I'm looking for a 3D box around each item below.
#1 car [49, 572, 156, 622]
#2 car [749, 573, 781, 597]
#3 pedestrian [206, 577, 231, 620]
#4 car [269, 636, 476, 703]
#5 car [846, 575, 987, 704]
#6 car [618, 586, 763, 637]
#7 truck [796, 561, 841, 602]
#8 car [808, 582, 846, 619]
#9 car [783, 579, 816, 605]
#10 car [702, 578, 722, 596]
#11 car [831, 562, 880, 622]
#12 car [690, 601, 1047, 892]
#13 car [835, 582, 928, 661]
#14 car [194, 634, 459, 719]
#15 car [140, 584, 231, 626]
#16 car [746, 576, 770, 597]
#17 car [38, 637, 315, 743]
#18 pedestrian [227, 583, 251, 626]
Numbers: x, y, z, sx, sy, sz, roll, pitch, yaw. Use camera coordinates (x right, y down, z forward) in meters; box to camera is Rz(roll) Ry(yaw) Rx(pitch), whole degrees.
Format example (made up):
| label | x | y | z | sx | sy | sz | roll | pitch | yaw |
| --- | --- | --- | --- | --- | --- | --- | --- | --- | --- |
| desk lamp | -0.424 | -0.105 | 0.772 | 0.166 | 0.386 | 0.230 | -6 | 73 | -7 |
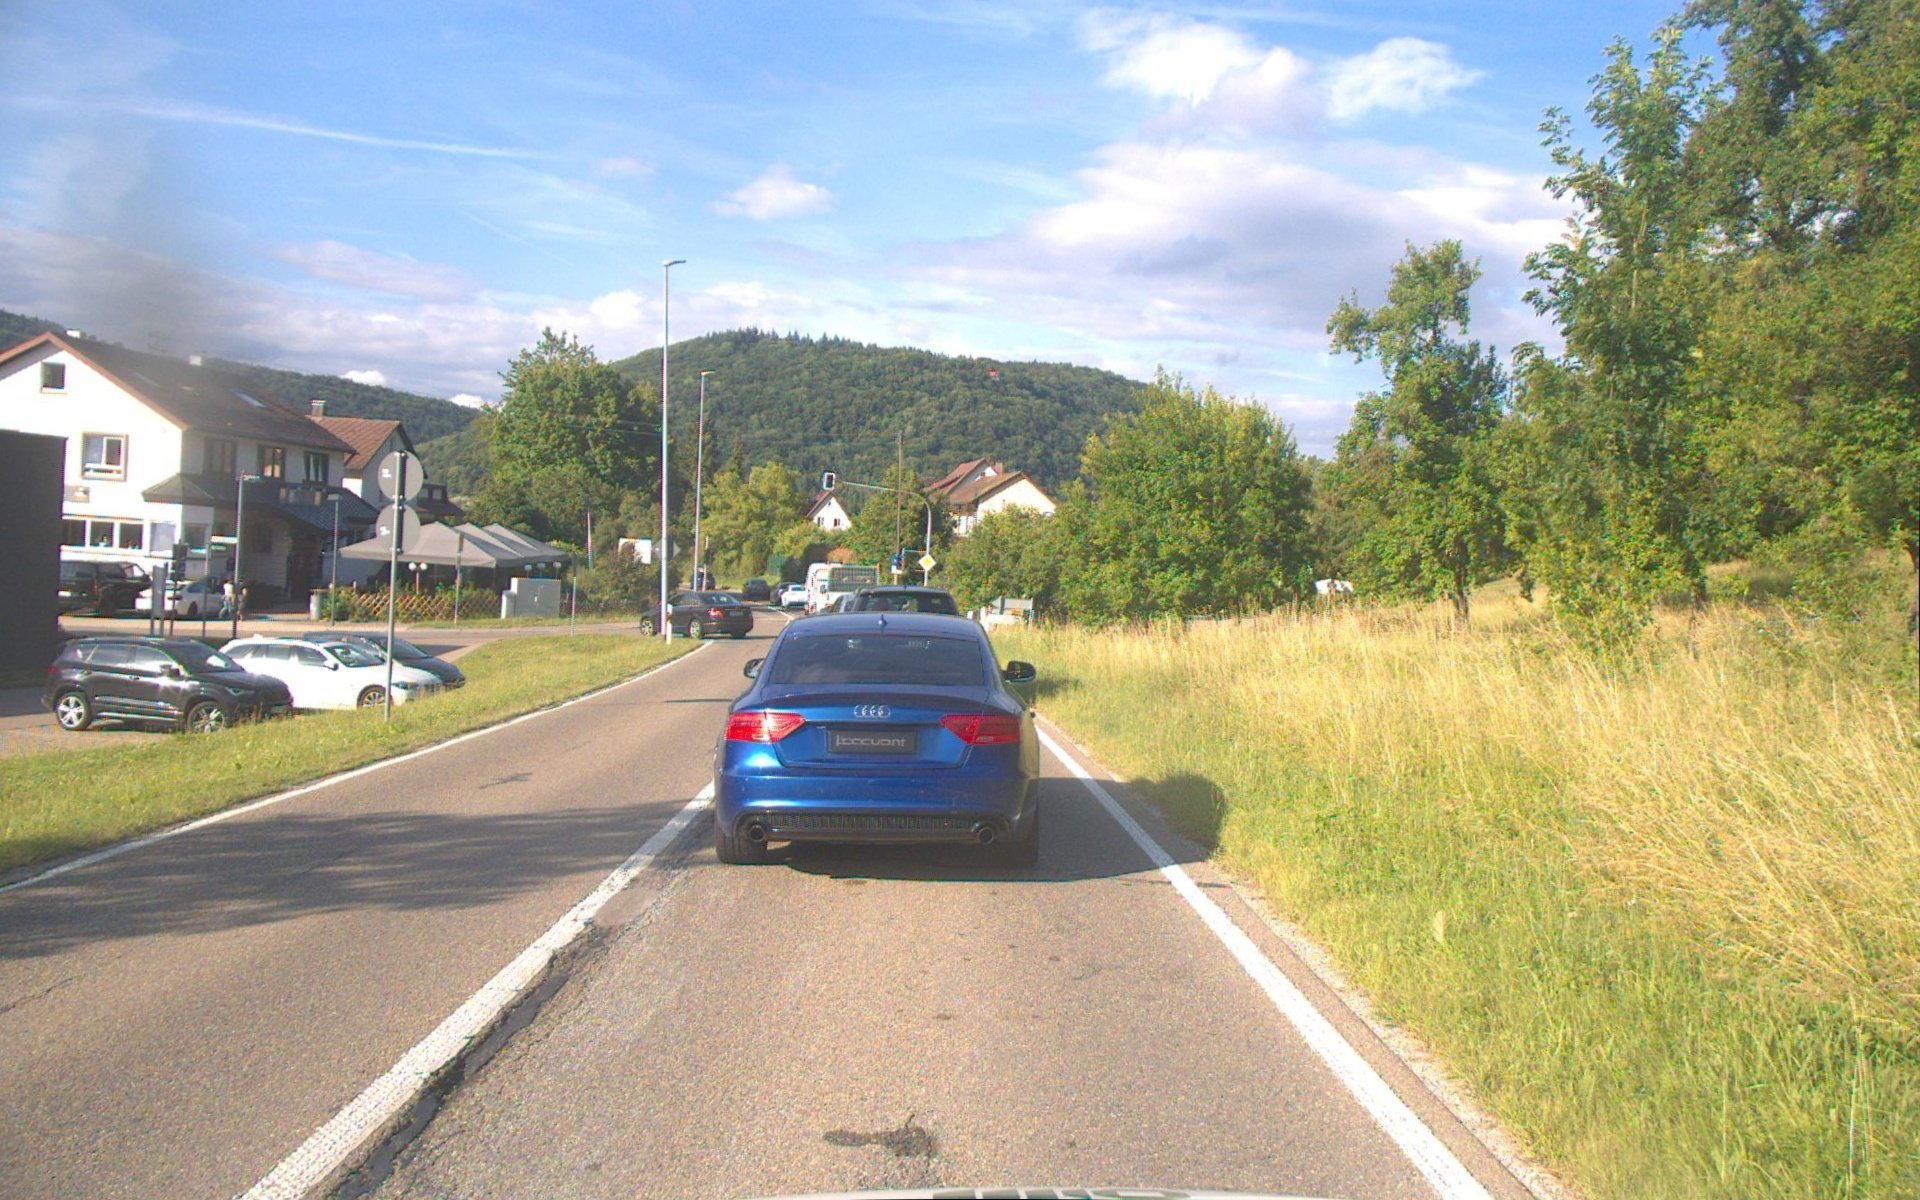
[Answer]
| label | x | y | z | sx | sy | sz | roll | pitch | yaw |
| --- | --- | --- | --- | --- | --- | --- | --- | --- | --- |
| car | -31.112 | -0.091 | 60.146 | 1.849 | 1.691 | 3.998 | 1 | -1 | -2 |
| car | -12.823 | -0.981 | 108.726 | 1.669 | 1.516 | 3.513 | 1 | -1 | -14 |
| pedestrian | -27.057 | -0.058 | 60.351 | 0.596 | 1.529 | 0.589 | 1 | -1 | -2 |
| car | -12.926 | 1.514 | 36.525 | 3.902 | 1.333 | 1.762 | 1 | -1 | 6 |
| car | -0.547 | 0.541 | 23.851 | 1.710 | 1.668 | 4.001 | 1 | -1 | 3 |
| car | -8.203 | 0.349 | 50.413 | 3.904 | 1.467 | 1.920 | 1 | -1 | 19 |
| truck | -7.252 | -0.897 | 84.334 | 1.667 | 1.988 | 5.907 | 1 | 0 | -11 |
| car | -6.359 | 0.047 | 79.039 | 1.712 | 1.668 | 3.995 | 1 | -1 | -6 |
| car | -9.684 | -0.450 | 99.624 | 1.667 | 1.516 | 3.517 | 1 | -1 | -11 |
| car | -22.802 | -1.170 | 152.074 | 1.597 | 1.604 | 3.669 | 1 | -1 | -11 |
| car | -4.075 | -0.282 | 64.019 | 1.712 | 2.234 | 3.995 | 1 | -1 | -6 |
| car | -0.358 | 0.736 | 10.143 | 1.758 | 1.412 | 4.001 | 0 | -1 | 3 |
| car | -1.743 | 0.485 | 37.864 | 1.767 | 1.668 | 4.464 | 1 | -1 | 1 |
| car | -12.855 | 1.521 | 33.688 | 4.711 | 1.520 | 1.882 | 1 | -1 | 10 |
| car | -28.386 | 0.194 | 60.748 | 1.524 | 1.475 | 3.998 | 1 | 0 | -2 |
| car | -15.278 | -1.035 | 124.840 | 1.666 | 1.516 | 3.520 | 1 | -1 | -8 |
| car | -13.774 | 1.549 | 29.193 | 3.939 | 1.666 | 2.002 | 1 | -1 | 10 |
| pedestrian | -26.295 | 0.173 | 60.324 | 0.596 | 1.529 | 0.589 | 1 | -1 | -2 |
